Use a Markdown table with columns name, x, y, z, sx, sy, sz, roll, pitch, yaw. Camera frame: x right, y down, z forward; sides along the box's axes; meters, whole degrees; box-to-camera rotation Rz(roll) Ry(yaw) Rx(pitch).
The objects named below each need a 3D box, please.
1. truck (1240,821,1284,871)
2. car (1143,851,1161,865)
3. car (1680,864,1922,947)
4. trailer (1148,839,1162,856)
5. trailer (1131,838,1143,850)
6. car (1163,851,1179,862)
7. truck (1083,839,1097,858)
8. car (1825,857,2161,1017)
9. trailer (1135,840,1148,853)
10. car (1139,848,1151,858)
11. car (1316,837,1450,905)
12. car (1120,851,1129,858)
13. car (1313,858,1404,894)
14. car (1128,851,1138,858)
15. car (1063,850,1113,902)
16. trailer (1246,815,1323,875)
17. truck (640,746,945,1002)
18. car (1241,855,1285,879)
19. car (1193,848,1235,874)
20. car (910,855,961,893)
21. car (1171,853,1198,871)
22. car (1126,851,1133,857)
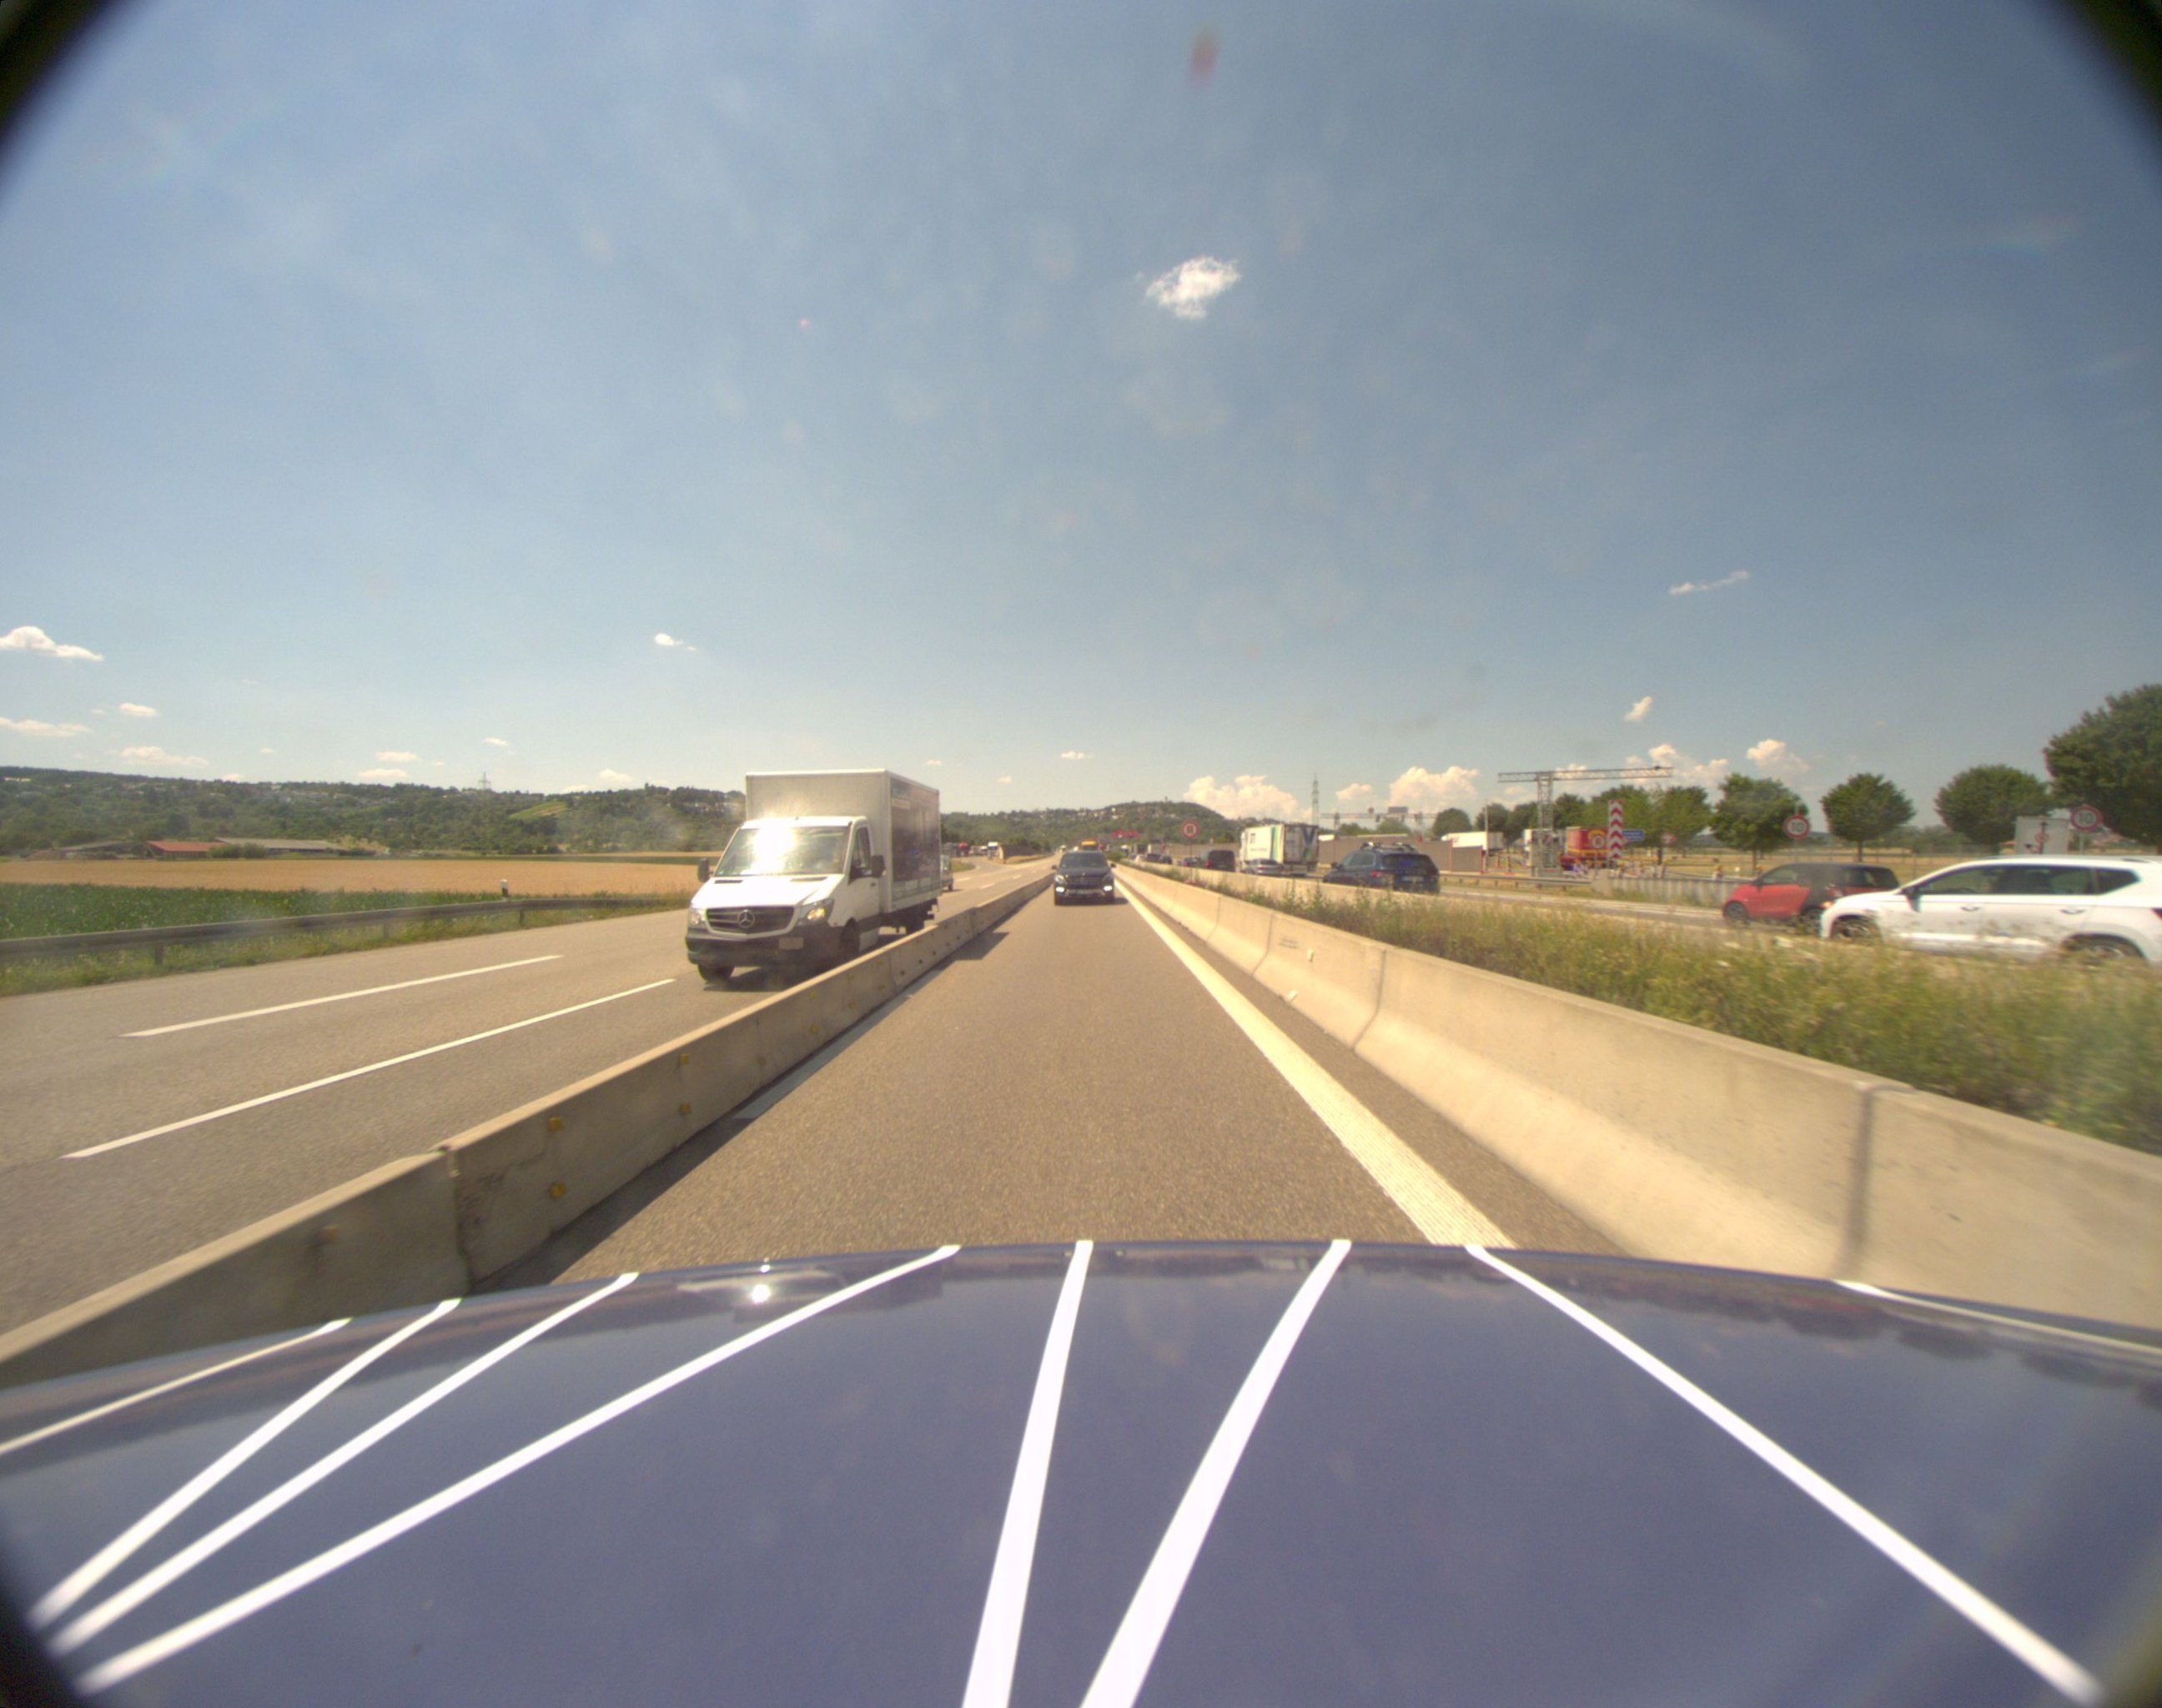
| name | x | y | z | sx | sy | sz | roll | pitch | yaw |
| --- | --- | --- | --- | --- | --- | --- | --- | --- | --- |
| truck | 16.416 | -0.751 | 69.217 | 2.878 | 4.350 | 4.902 | 1 | 1 | 1 |
| car | 8.962 | 0.461 | 96.410 | 1.895 | 1.608 | 4.820 | -1 | 1 | 1 |
| car | 15.455 | 1.019 | 16.646 | 1.566 | 1.507 | 3.937 | 1 | 0 | 1 |
| trailer | 17.297 | -1.475 | 177.427 | 2.654 | 3.851 | 6.616 | 0 | 1 | 1 |
| trailer | 19.548 | -3.499 | 267.140 | 3.263 | 4.033 | 14.388 | -2 | 1 | 1 |
| car | 13.168 | 0.399 | 111.947 | 1.816 | 1.477 | 4.962 | -1 | 1 | 1 |
| truck | 1.627 | -0.942 | 132.185 | 2.272 | 3.139 | 8.186 | -2 | 1 | 1 |
| car | 11.852 | 0.859 | 9.282 | 1.563 | 1.613 | 4.045 | 0 | 0 | 0 |
| trailer | 18.544 | -2.299 | 235.029 | 2.991 | 4.043 | 15.161 | -1 | 1 | 1 |
| car | 10.141 | -0.151 | 120.839 | 1.679 | 1.510 | 4.507 | -1 | 1 | 1 |
| car | 7.800 | 0.394 | 20.121 | 1.786 | 1.580 | 4.541 | -1 | 0 | 1 |
| car | 10.811 | 0.200 | 189.498 | 1.998 | 1.749 | 4.644 | -1 | 0 | 1 |
| car | 11.518 | 0.876 | 31.943 | 2.019 | 1.378 | 5.085 | 0 | 0 | 0 |
| car | 10.474 | 0.093 | 153.500 | 1.659 | 1.510 | 3.999 | -1 | 1 | 1 |
| car | 0.278 | 0.745 | 27.623 | 1.630 | 1.711 | 3.865 | -2 | 0 | 1 |
| trailer | 16.346 | -0.686 | 62.379 | 2.900 | 4.349 | 12.992 | 1 | 0 | 1 |
| truck | -4.118 | 0.270 | 12.642 | 2.326 | 3.049 | 6.751 | -2 | 0 | 1 |
| car | 12.237 | 0.838 | 51.330 | 1.851 | 1.474 | 4.922 | 2 | 0 | 1 |
| car | 8.358 | 0.409 | 48.186 | 1.848 | 1.560 | 5.344 | -1 | 0 | 1 |
| car | -7.153 | 0.938 | 37.677 | 1.630 | 1.726 | 3.973 | -2 | 0 | 1 |
| car | 8.299 | 0.631 | 61.142 | 1.659 | 1.344 | 4.266 | -1 | 0 | 1 |
| car | 14.578 | 0.027 | 229.405 | 1.998 | 2.002 | 4.346 | 0 | 0 | 3 |
